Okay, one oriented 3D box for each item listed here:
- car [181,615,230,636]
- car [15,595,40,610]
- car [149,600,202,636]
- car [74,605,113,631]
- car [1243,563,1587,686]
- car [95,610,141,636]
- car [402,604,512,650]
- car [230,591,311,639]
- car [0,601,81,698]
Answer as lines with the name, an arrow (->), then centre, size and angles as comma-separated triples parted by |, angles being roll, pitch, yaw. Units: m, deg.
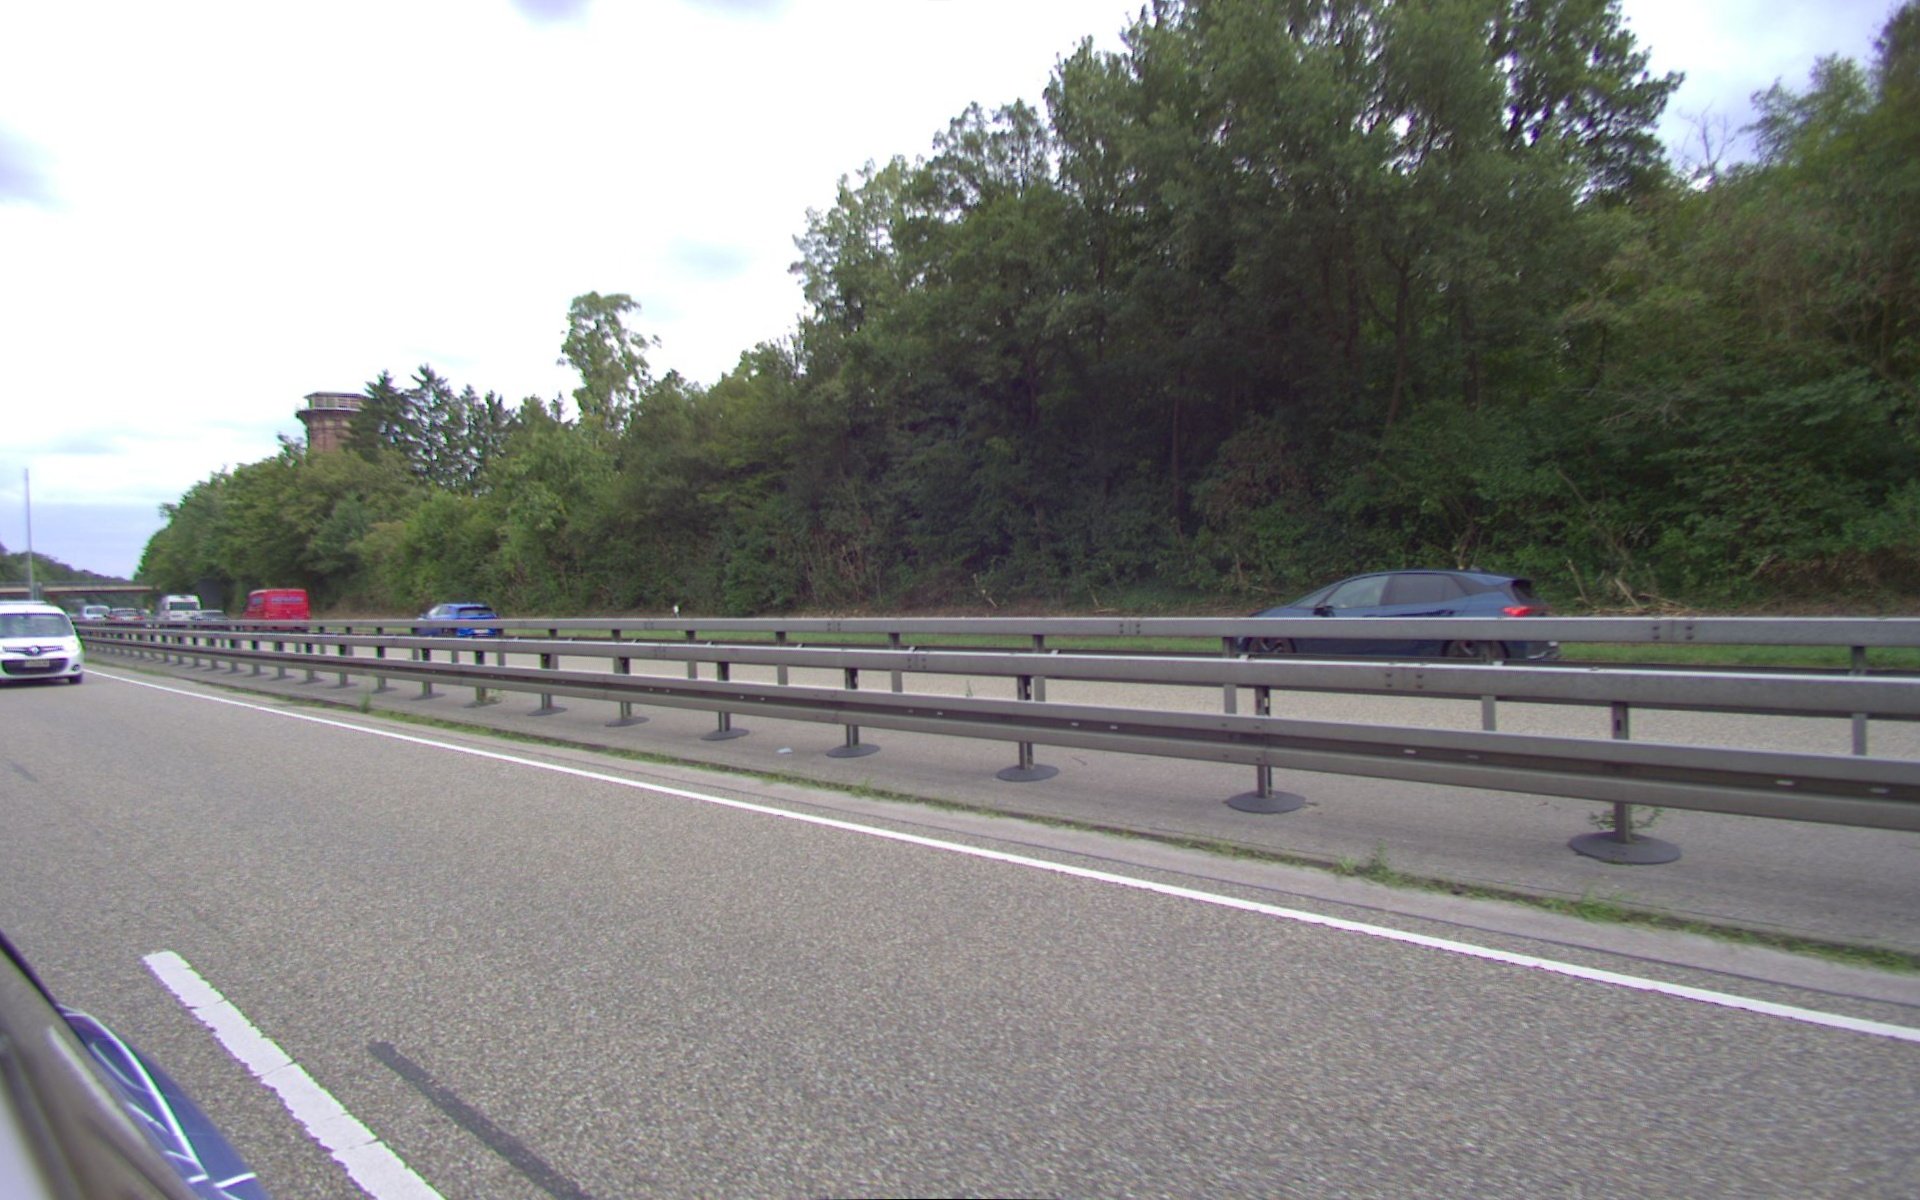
car -> -48.316, 1.616, 64.784 | 4.106, 1.306, 1.755 | -1, -1, 42
car -> -117.392, 0.352, 127.367 | 5.124, 1.817, 2.012 | -1, -1, 44
car -> -59.797, 1.367, 77.096 | 5.552, 2.631, 2.287 | -1, -1, 43
car -> -69.541, 1.443, 81.192 | 5.057, 1.998, 1.802 | -1, -1, 43
car -> 6.257, 0.324, 14.193 | 4.087, 1.478, 1.676 | -1, -1, 41
car -> -54.633, 1.481, 65.643 | 4.014, 1.575, 1.762 | -1, -1, 42
car -> -17.844, 0.928, 35.796 | 4.503, 1.521, 1.972 | -1, -1, 42
car -> -34.114, 0.738, 50.025 | 5.373, 2.273, 2.044 | -1, -1, 41
car -> -21.360, 1.058, 22.906 | 4.423, 2.020, 1.797 | -1, -1, 43
